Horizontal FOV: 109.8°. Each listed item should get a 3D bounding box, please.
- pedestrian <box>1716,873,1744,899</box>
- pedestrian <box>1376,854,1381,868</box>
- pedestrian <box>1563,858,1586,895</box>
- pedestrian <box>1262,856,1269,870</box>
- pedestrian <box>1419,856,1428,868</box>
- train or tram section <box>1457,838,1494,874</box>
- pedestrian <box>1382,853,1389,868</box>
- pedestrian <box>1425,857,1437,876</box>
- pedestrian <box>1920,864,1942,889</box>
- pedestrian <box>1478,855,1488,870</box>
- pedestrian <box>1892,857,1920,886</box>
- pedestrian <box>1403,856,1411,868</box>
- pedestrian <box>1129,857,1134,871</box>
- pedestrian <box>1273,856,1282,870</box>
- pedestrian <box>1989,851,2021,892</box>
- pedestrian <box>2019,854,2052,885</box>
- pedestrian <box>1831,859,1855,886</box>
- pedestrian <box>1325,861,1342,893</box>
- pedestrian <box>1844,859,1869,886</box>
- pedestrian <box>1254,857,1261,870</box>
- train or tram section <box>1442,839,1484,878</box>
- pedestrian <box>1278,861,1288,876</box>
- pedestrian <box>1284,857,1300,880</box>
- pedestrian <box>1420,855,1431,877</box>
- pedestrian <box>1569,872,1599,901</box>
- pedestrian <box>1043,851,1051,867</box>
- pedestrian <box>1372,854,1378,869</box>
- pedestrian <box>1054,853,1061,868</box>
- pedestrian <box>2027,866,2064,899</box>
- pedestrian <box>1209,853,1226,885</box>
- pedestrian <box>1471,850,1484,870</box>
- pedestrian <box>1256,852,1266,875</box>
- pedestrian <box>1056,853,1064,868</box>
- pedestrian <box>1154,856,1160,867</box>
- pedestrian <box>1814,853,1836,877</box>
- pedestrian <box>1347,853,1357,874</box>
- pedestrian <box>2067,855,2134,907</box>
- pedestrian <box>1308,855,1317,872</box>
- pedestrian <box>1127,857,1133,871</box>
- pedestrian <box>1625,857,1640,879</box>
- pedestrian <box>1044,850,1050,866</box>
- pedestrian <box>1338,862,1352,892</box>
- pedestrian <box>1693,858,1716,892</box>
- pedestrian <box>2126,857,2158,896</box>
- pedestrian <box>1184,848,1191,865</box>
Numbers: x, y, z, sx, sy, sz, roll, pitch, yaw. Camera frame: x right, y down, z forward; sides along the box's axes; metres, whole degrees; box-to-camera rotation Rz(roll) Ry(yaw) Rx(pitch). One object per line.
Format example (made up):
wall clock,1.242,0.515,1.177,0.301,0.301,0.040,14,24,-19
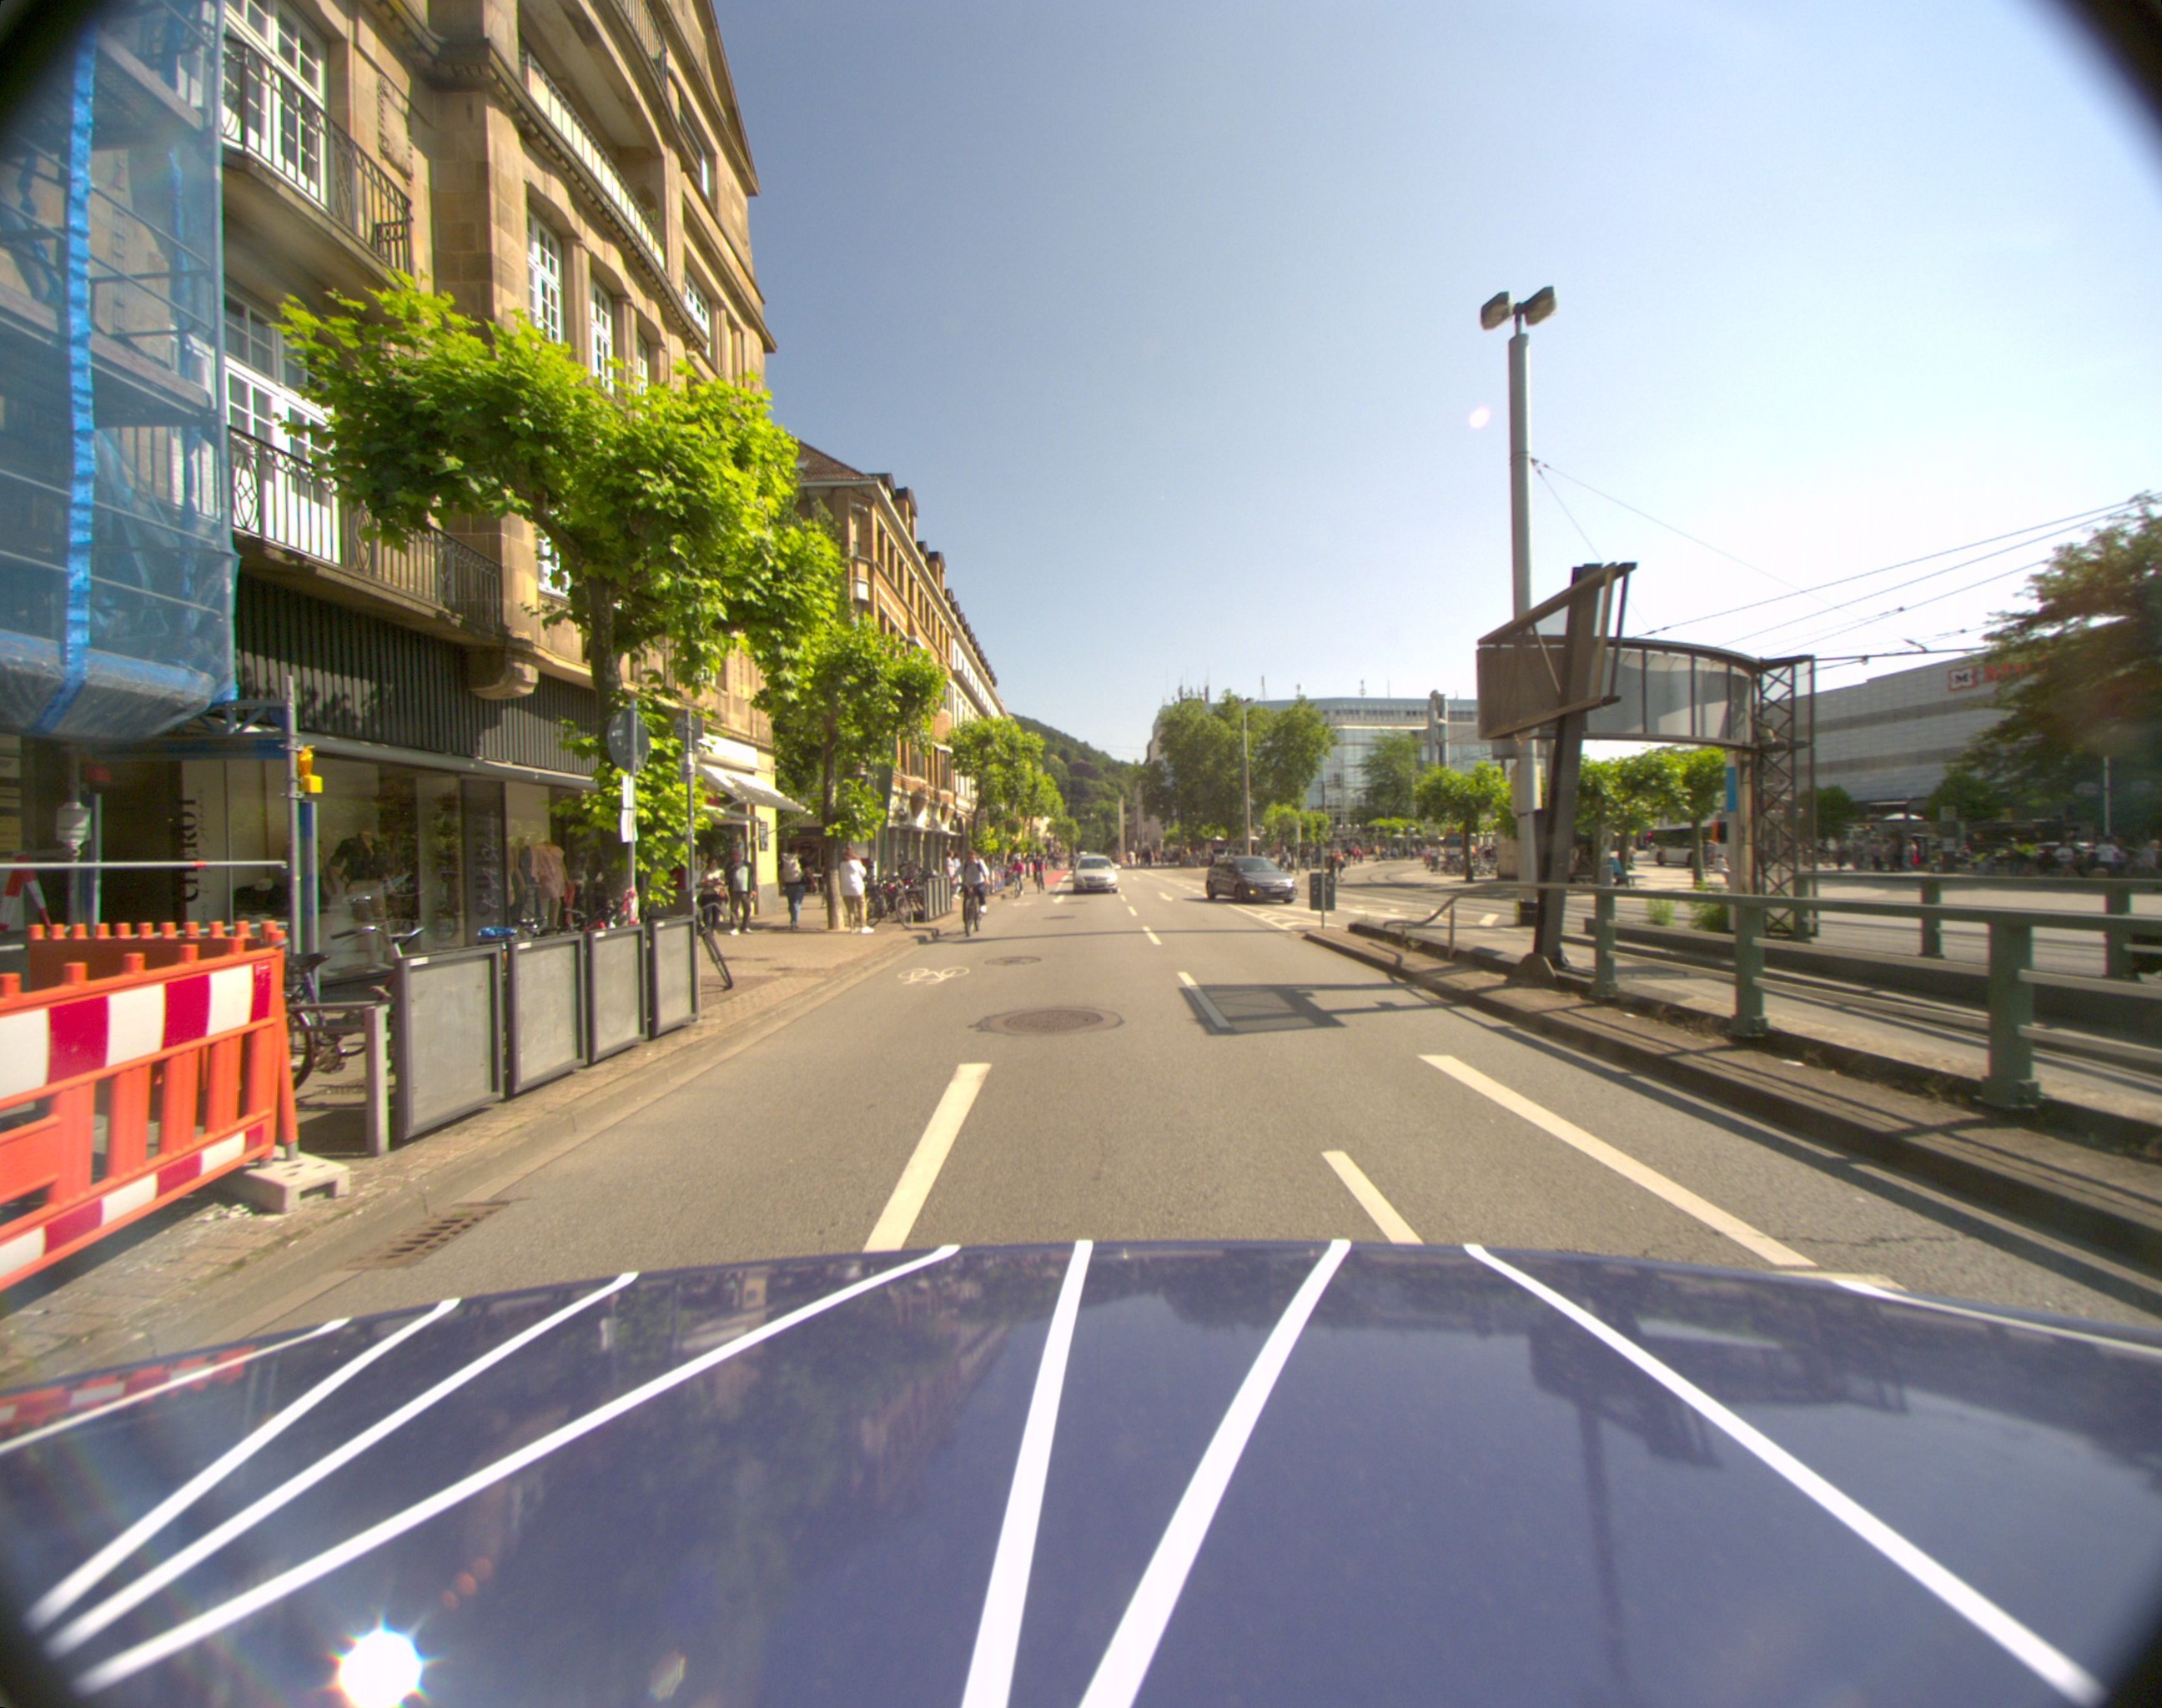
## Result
pedestrian,26.257,1.282,30.745,0.635,0.995,0.580,2,0,3
pedestrian,31.274,0.743,79.901,0.385,1.540,0.412,2,0,25
pedestrian,21.398,0.978,32.944,0.577,1.599,0.602,2,0,-28
pedestrian,22.877,1.133,94.099,0.638,1.684,0.753,3,3,23
pedestrian,40.674,0.937,90.130,0.757,1.464,0.555,-2,1,0
train or tram section,45.523,0.171,87.571,2.615,3.805,9.537,-2,0,34
pedestrian,31.189,0.700,77.779,0.477,1.540,0.451,2,0,-26
pedestrian,26.757,0.958,58.117,0.626,1.457,0.552,2,0,-22
pedestrian,42.273,1.118,37.786,0.518,1.255,0.453,2,0,5
pedestrian,42.546,0.859,80.384,0.681,1.540,0.577,2,0,-26
pedestrian,42.435,0.883,39.091,0.624,1.457,0.681,2,0,5
pedestrian,39.286,0.980,91.541,0.757,1.464,0.555,-2,1,0
pedestrian,6.147,1.221,92.263,0.575,1.704,0.652,-2,1,-1
pedestrian,24.584,1.109,95.123,0.752,1.737,0.782,2,0,-9
pedestrian,40.769,0.759,33.530,0.581,1.768,0.623,2,0,15
pedestrian,40.094,0.662,31.924,0.581,1.255,0.623,2,0,15
pedestrian,42.682,1.030,42.564,0.625,1.457,0.680,2,0,-2
pedestrian,13.681,1.228,41.205,0.527,1.723,0.586,2,0,-29
pedestrian,42.419,0.999,41.549,0.625,1.457,0.680,2,0,-4
pedestrian,24.354,1.278,104.905,0.752,1.737,0.782,0,0,-9
train or tram section,40.126,0.375,79.676,2.615,3.805,9.537,-2,0,34
pedestrian,16.330,1.144,61.406,0.577,1.226,0.555,0,0,34
pedestrian,15.189,1.051,54.670,0.895,1.649,0.680,0,0,-8
pedestrian,26.589,0.936,58.692,0.473,1.656,0.521,2,0,-22
pedestrian,20.758,1.326,31.390,0.677,1.164,0.752,2,0,-6
pedestrian,-3.584,0.485,80.004,0.579,1.675,0.620,-3,1,-44
pedestrian,30.068,0.751,77.697,0.474,1.540,0.493,2,0,25
pedestrian,-2.816,0.792,89.175,0.606,1.726,0.647,-2,1,-22
pedestrian,36.825,1.085,29.027,0.622,1.255,0.582,2,0,10
pedestrian,8.512,0.931,47.349,0.897,1.996,0.678,0,0,-43
pedestrian,35.652,0.505,68.341,0.626,1.784,0.679,2,0,-22
pedestrian,15.575,0.845,65.781,0.693,1.996,0.564,-1,1,-8
pedestrian,-2.449,0.749,88.065,0.579,1.675,0.726,-2,1,-22
pedestrian,11.221,1.078,112.850,0.732,1.660,0.640,-2,1,14
pedestrian,46.236,0.692,47.224,0.624,1.457,0.681,2,0,3
pedestrian,23.542,0.837,66.080,0.577,1.805,0.605,2,0,0
pedestrian,36.816,0.973,27.463,0.967,1.783,1.082,2,-1,10
pedestrian,20.526,0.864,67.365,0.727,1.457,0.682,2,0,21
pedestrian,6.181,1.228,95.307,0.639,1.737,0.733,-2,1,-1
pedestrian,37.367,0.958,51.449,0.526,1.457,0.588,2,0,-19
pedestrian,-3.601,0.405,81.194,0.578,1.675,0.775,-2,1,-2
pedestrian,14.327,1.257,41.251,0.525,1.599,0.627,2,0,10
pedestrian,29.867,1.011,36.412,0.608,1.598,0.549,2,0,3
pedestrian,34.681,0.723,24.835,0.404,1.255,0.481,2,0,-18
pedestrian,11.128,0.232,79.140,0.516,1.732,0.518,-2,1,-13
